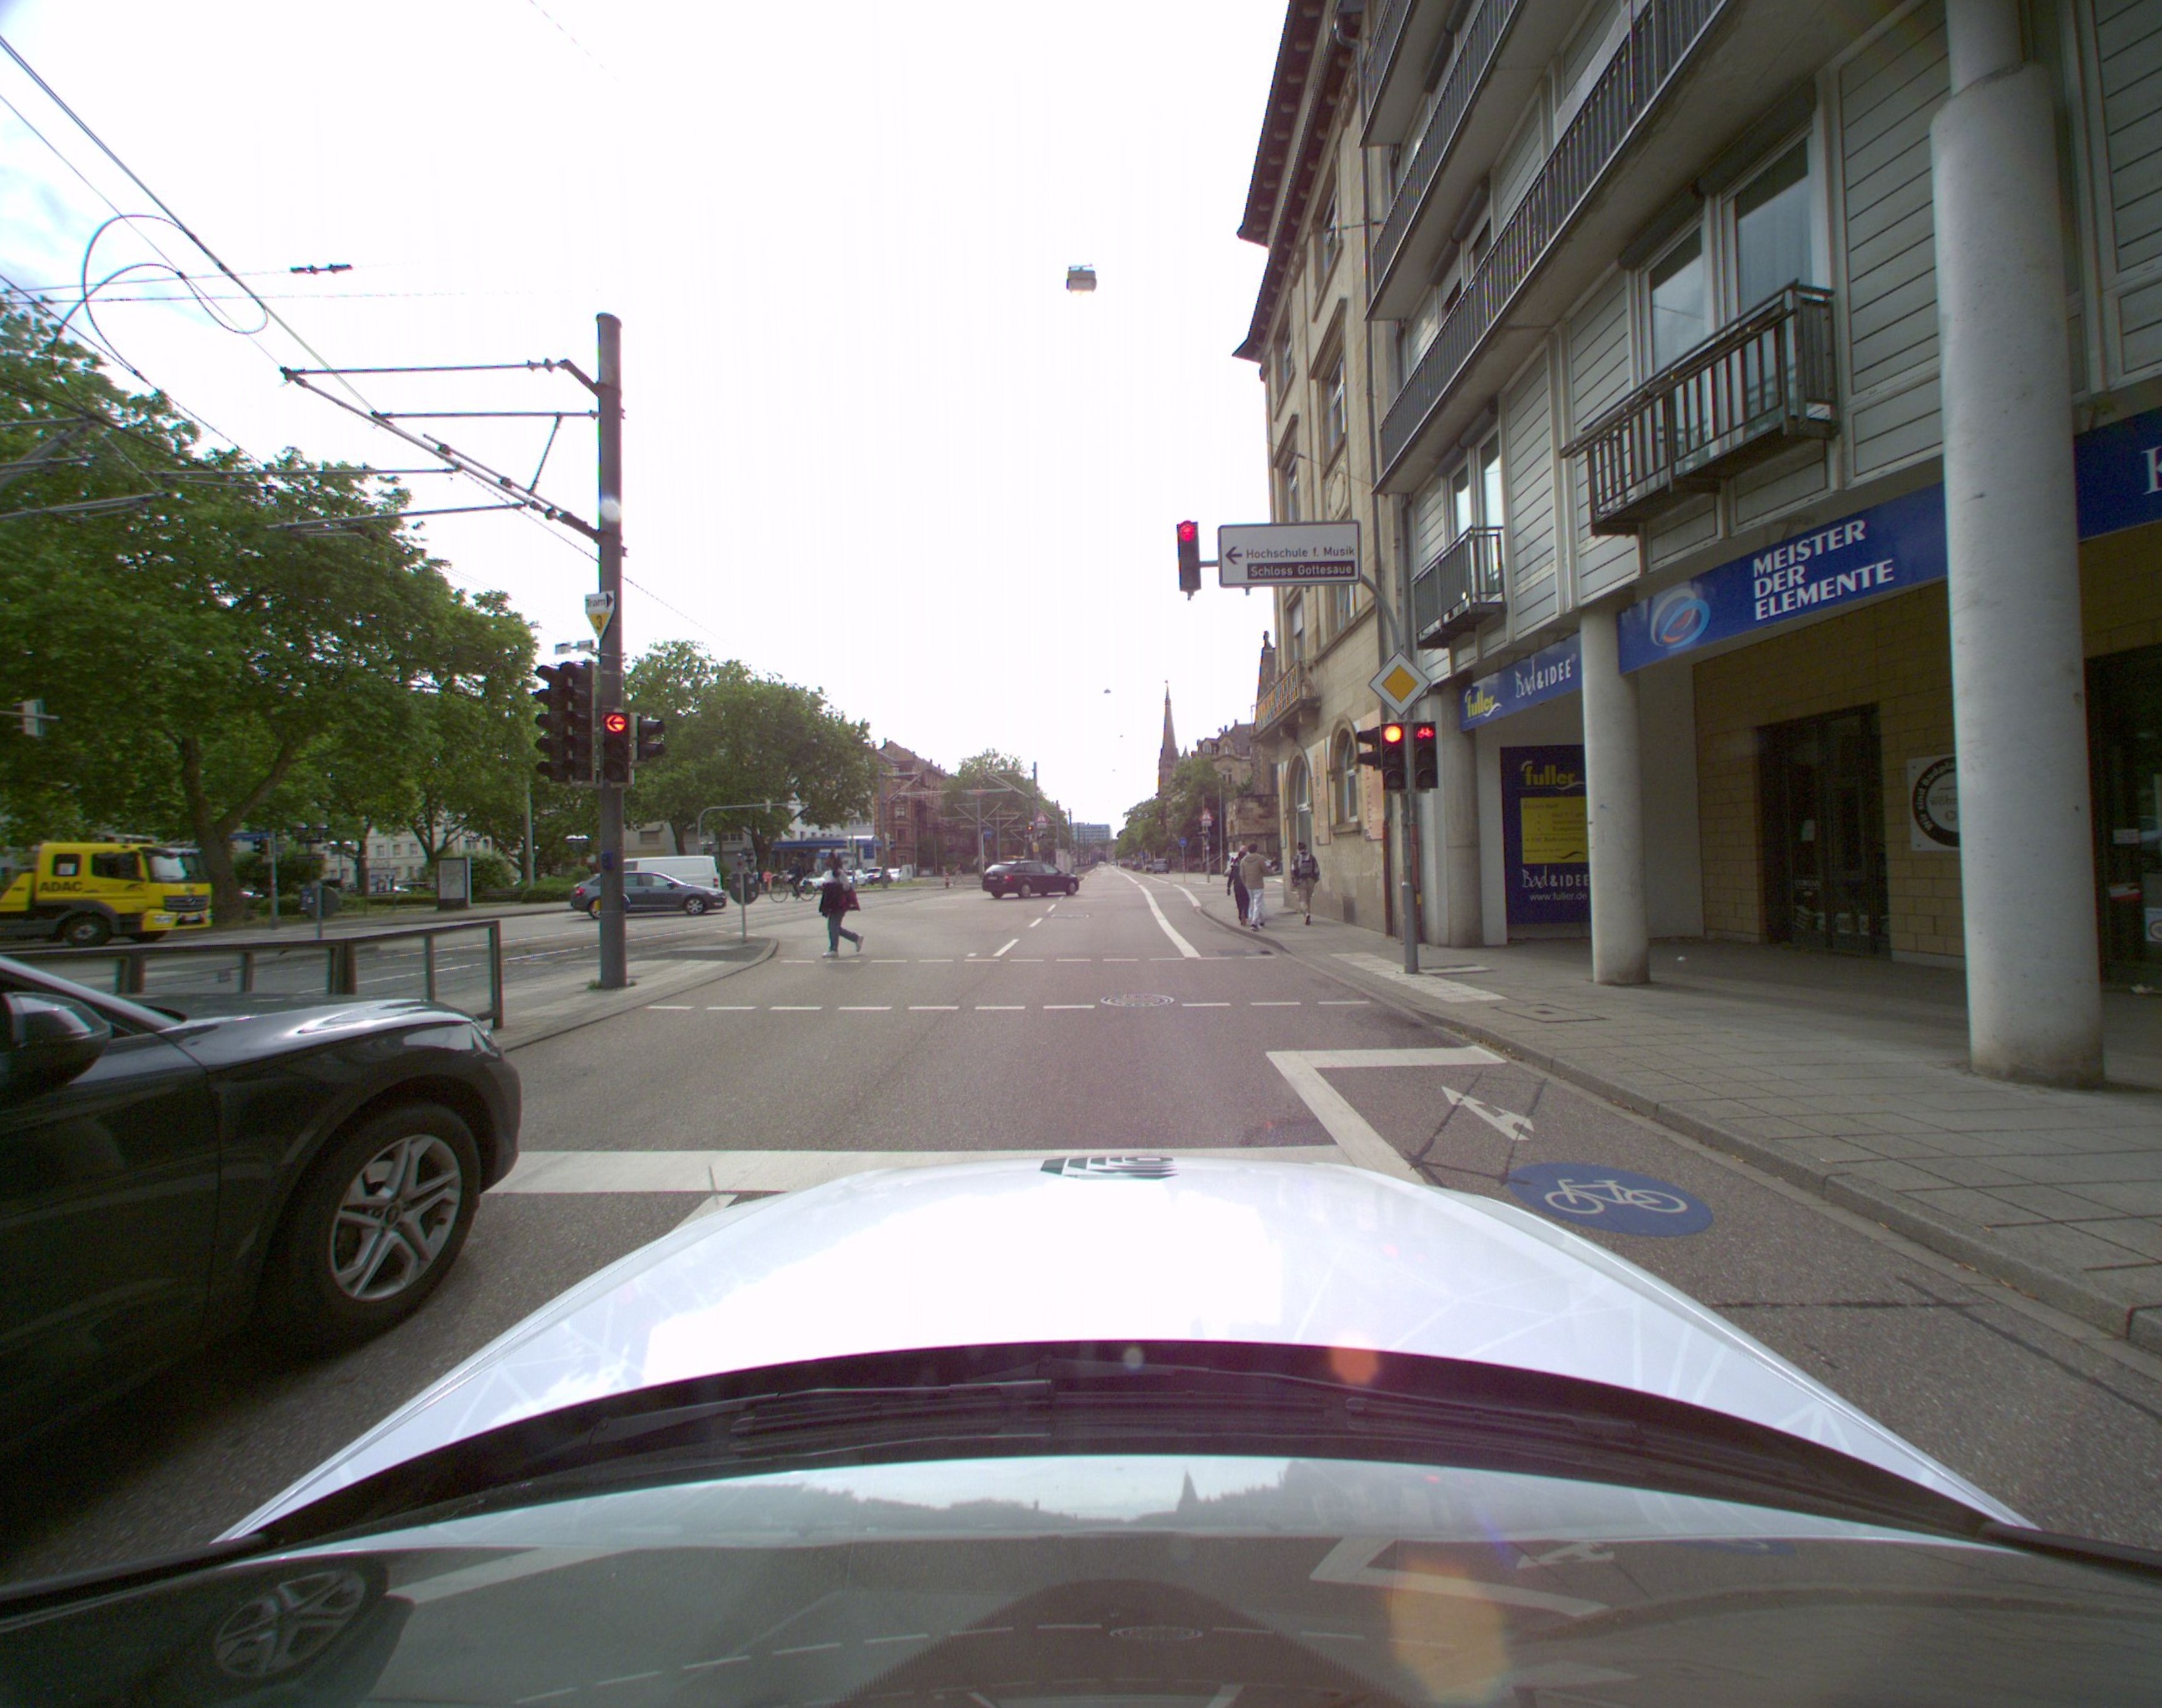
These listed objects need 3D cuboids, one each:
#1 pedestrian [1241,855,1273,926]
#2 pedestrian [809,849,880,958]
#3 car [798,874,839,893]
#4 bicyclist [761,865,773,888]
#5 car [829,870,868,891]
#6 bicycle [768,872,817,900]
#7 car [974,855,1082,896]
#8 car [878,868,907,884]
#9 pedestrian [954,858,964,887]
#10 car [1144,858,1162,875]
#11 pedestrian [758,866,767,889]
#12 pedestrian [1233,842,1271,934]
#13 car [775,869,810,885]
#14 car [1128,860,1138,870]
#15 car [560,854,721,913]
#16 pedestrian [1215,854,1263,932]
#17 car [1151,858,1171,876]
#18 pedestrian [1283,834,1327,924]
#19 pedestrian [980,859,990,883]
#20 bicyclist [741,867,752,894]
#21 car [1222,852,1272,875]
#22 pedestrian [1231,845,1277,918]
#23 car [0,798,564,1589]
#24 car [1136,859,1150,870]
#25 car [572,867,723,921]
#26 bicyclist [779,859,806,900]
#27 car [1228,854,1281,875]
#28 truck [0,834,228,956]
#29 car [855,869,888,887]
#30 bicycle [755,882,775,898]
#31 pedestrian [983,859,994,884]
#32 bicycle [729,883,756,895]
[{"bbox_3d":[4.092,0.837,18.950,0.696,1.593,0.833,0,-1,10],"label":"pedestrian"},{"bbox_3d":[-3.796,0.770,13.069,0.663,1.680,0.874,-1,-1,40],"label":"pedestrian"},{"bbox_3d":[-19.144,2.146,59.539,1.628,1.325,4.001,0,-1,2],"label":"car"},{"bbox_3d":[-21.576,1.576,55.995,0.585,1.568,0.619,0,-1,1],"label":"bicyclist"},{"bbox_3d":[-18.811,2.127,66.029,1.887,1.557,3.837,0,-1,2],"label":"car"},{"bbox_3d":[-12.207,1.362,34.558,1.943,1.136,0.731,0,-1,-19],"label":"bicycle"},{"bbox_3d":[-2.071,0.837,33.054,1.789,1.586,4.367,-1,-1,42],"label":"car"},{"bbox_3d":[-18.440,2.125,79.808,1.887,1.557,3.837,0,-1,2],"label":"car"},{"bbox_3d":[-7.480,1.123,49.924,0.571,1.794,0.518,0,-1,-3],"label":"pedestrian"},{"bbox_3d":[8.829,1.545,99.641,1.986,2.014,4.001,0,-1,1],"label":"car"},{"bbox_3d":[-24.747,1.811,63.264,0.371,1.784,0.555,-1,-1,26],"label":"pedestrian"},{"bbox_3d":[3.495,0.678,16.595,0.578,1.813,1.020,-1,-1,21],"label":"pedestrian"},{"bbox_3d":[-28.744,2.278,81.335,1.986,1.530,4.001,0,-1,2],"label":"car"},{"bbox_3d":[10.967,2.307,172.449,1.986,2.014,4.001,0,-1,2],"label":"car"},{"bbox_3d":[-15.549,1.001,29.095,4.886,1.967,1.973,0,-1,-24],"label":"car"},{"bbox_3d":[3.466,0.830,17.870,0.620,1.653,1.003,-1,-1,39],"label":"pedestrian"},{"bbox_3d":[8.811,1.429,90.061,1.986,2.014,4.001,0,-1,1],"label":"car"},{"bbox_3d":[4.626,0.510,16.870,0.622,1.778,1.137,-4,-2,9],"label":"pedestrian"},{"bbox_3d":[-6.175,1.091,52.403,0.544,1.537,0.465,0,-1,-3],"label":"pedestrian"},{"bbox_3d":[-22.616,1.794,55.037,0.528,1.784,0.472,-1,-1,21],"label":"bicyclist"},{"bbox_3d":[13.864,0.777,68.155,3.785,1.904,2.001,0,-1,1],"label":"car"},{"bbox_3d":[4.326,0.673,20.388,0.906,1.784,0.651,-1,-1,39],"label":"pedestrian"},{"bbox_3d":[-3.142,0.696,1.224,1.873,1.601,4.358,-1,-1,1],"label":"car"},{"bbox_3d":[9.719,1.671,128.454,1.986,1.607,4.165,-3,-1,1],"label":"car"},{"bbox_3d":[-13.483,1.205,25.596,3.997,1.469,1.827,-1,0,-23],"label":"car"},{"bbox_3d":[-12.223,1.066,34.522,1.041,1.683,0.641,0,-1,-19],"label":"bicyclist"},{"bbox_3d":[13.754,0.858,64.743,3.785,1.601,2.001,0,-1,1],"label":"car"},{"bbox_3d":[-28.442,1.018,19.953,10.187,2.941,2.618,-1,-1,-22],"label":"truck"},{"bbox_3d":[-18.708,2.127,72.928,1.887,1.557,3.837,0,-1,2],"label":"car"},{"bbox_3d":[-21.589,2.441,55.682,0.520,1.017,1.937,0,-1,2],"label":"bicycle"},{"bbox_3d":[-5.871,1.114,51.799,0.651,1.537,0.465,0,-1,-3],"label":"pedestrian"},{"bbox_3d":[-22.915,2.372,55.105,1.665,0.773,0.659,-1,-1,22],"label":"bicycle"}]
